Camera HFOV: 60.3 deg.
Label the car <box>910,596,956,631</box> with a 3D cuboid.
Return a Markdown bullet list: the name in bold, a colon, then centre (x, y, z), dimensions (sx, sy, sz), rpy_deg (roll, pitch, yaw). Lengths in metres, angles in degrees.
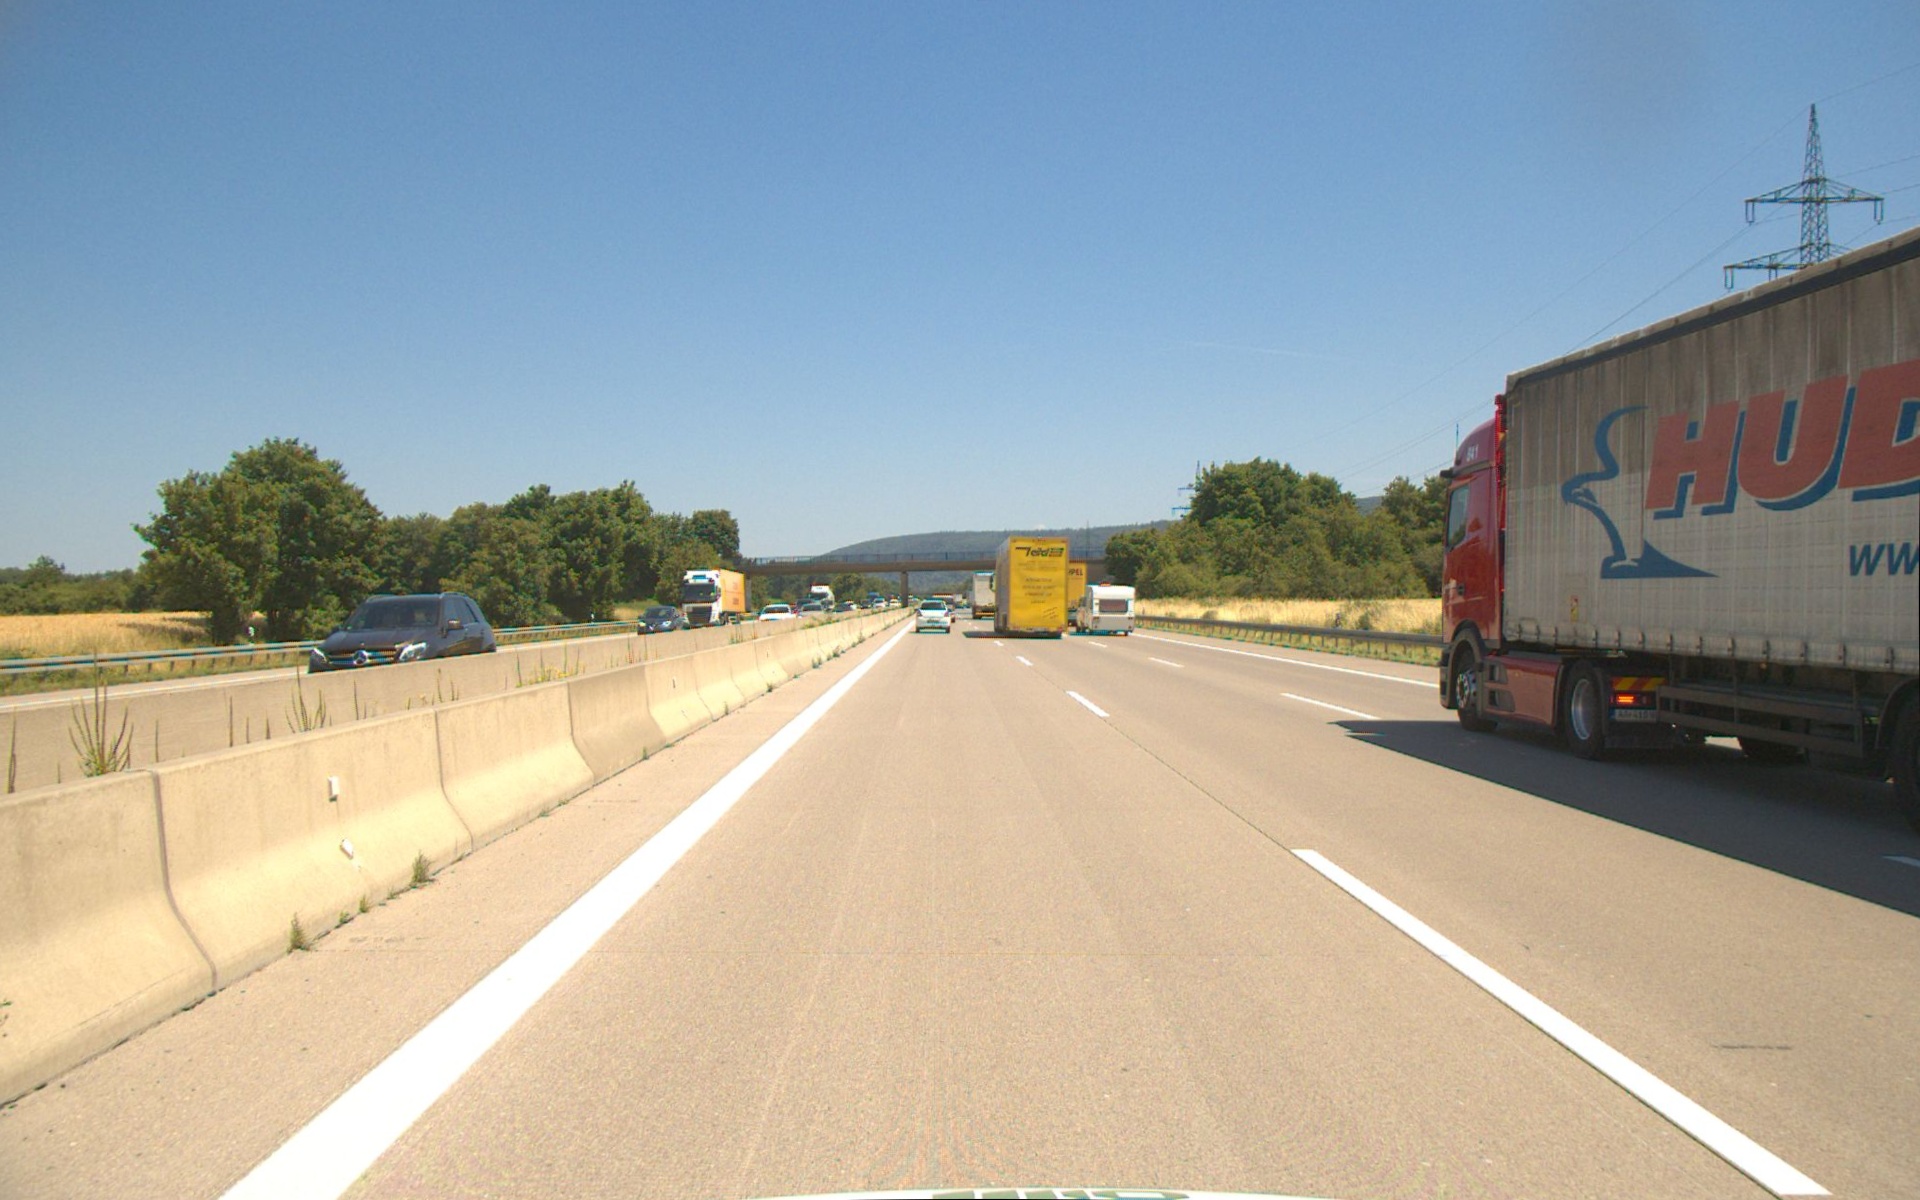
- **car**: centre (-1.265, 0.626, 79.611), dimensions (2.064, 1.563, 4.122), rpy_deg (1, 0, 0)

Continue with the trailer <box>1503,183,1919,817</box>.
- **trailer**: centre (7.691, -0.648, 11.927), dimensions (2.815, 4.172, 13.509), rpy_deg (1, 0, -1)

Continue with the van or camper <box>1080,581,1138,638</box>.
- **van or camper**: centre (7.070, 0.432, 78.910), dimensions (2.179, 2.575, 5.430), rpy_deg (1, 0, -1)

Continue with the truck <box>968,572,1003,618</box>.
- **truck**: centre (2.179, -0.422, 143.248), dimensions (2.763, 3.827, 6.283), rpy_deg (1, 0, -1)

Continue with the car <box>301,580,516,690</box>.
- **car**: centre (-8.888, 0.512, 27.135), dimensions (1.953, 1.604, 4.848), rpy_deg (1, 0, -1)

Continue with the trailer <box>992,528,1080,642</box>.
- **trailer**: centre (3.253, -0.649, 74.651), dimensions (3.150, 4.643, 13.455), rpy_deg (1, 0, 0)

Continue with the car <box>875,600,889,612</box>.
- **car**: centre (-11.877, 0.914, 251.298), dimensions (1.953, 1.765, 5.113), rpy_deg (-2, 0, -1)

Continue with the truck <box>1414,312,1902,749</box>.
- **truck**: centre (7.612, -0.684, 19.120), dimensions (2.847, 4.172, 6.270), rpy_deg (1, 0, -1)

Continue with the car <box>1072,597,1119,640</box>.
- **car**: centre (6.848, 0.902, 83.663), dimensions (1.953, 2.049, 3.999), rpy_deg (1, 0, -1)

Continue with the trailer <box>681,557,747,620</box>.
- **trailer**: centre (-17.923, -0.774, 121.524), dimensions (2.814, 4.271, 14.137), rpy_deg (-2, 0, -1)

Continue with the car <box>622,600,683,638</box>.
- **car**: centre (-14.140, 0.830, 76.305), dimensions (1.953, 1.587, 4.511), rpy_deg (-3, 0, -1)

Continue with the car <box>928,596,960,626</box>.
- **car**: centre (-1.133, 0.734, 118.162), dimensions (2.208, 2.049, 4.297), rpy_deg (1, 0, 0)

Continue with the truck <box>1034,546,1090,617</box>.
- **truck**: centre (6.642, -1.211, 108.784), dimensions (2.938, 4.390, 9.682), rpy_deg (1, 0, -1)

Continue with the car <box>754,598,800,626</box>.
- **car**: centre (-9.691, 0.614, 87.825), dimensions (1.953, 1.388, 4.669), rpy_deg (-2, 0, -1)

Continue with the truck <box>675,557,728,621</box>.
- **truck**: centre (-17.821, -0.752, 114.324), dimensions (2.810, 4.269, 5.229), rpy_deg (-2, 0, -1)

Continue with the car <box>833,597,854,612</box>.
- **car**: centre (-10.487, 0.403, 148.672), dimensions (1.656, 1.355, 3.999), rpy_deg (1, 0, -1)
